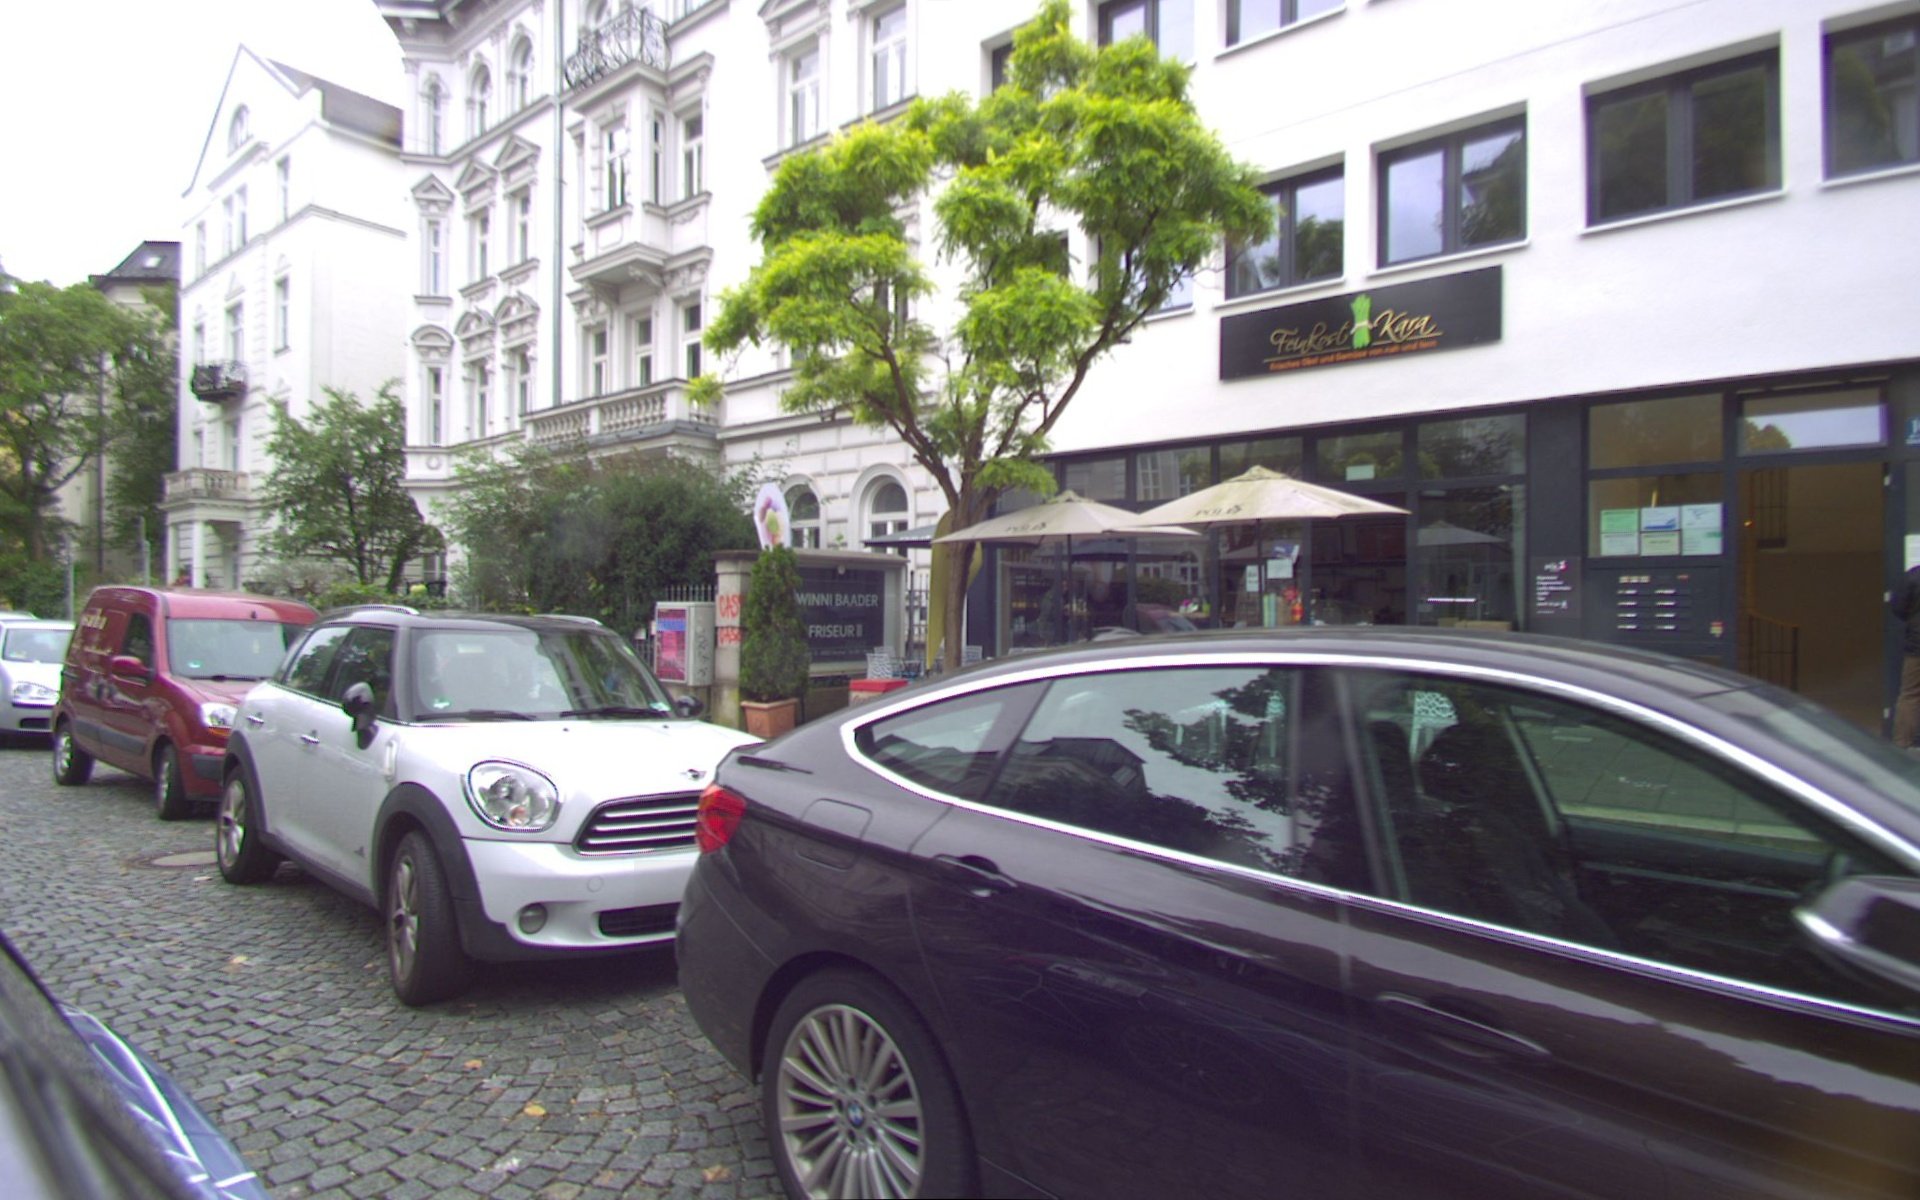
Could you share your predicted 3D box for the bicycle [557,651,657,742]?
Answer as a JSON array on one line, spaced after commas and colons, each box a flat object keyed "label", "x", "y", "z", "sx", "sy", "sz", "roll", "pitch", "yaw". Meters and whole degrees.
[{"label": "bicycle", "x": -4.495, "y": 1.197, "z": 12.836, "sx": 1.682, "sy": 1.087, "sz": 0.255, "roll": -2, "pitch": -2, "yaw": 35}]

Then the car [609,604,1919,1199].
[{"label": "car", "x": 1.303, "y": 0.797, "z": 2.058, "sx": 4.469, "sy": 1.476, "sz": 1.708, "roll": -1, "pitch": -4, "yaw": 40}]

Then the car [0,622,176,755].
[{"label": "car", "x": -11.340, "y": 0.982, "z": 12.561, "sx": 3.810, "sy": 1.404, "sz": 1.616, "roll": -1, "pitch": -1, "yaw": 37}]

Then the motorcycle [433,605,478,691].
[{"label": "motorcycle", "x": -7.370, "y": 0.673, "z": 14.749, "sx": 0.326, "sy": 1.189, "sz": 1.629, "roll": 1, "pitch": -1, "yaw": -36}]

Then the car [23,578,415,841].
[{"label": "car", "x": -6.404, "y": 0.776, "z": 8.603, "sx": 3.894, "sy": 1.736, "sz": 1.701, "roll": -1, "pitch": -3, "yaw": 39}]

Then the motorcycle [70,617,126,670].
[{"label": "motorcycle", "x": -24.574, "y": 1.210, "z": 28.832, "sx": 2.241, "sy": 1.439, "sz": 0.730, "roll": -1, "pitch": 0, "yaw": 36}]

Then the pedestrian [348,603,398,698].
[{"label": "pedestrian", "x": -10.536, "y": 0.887, "z": 18.161, "sx": 0.569, "sy": 1.659, "sz": 0.822, "roll": 1, "pitch": -1, "yaw": -44}]

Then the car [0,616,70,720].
[{"label": "car", "x": -16.197, "y": 1.050, "z": 16.568, "sx": 4.062, "sy": 1.584, "sz": 1.673, "roll": -1, "pitch": -1, "yaw": 37}]

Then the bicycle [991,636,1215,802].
[{"label": "bicycle", "x": 1.100, "y": 0.897, "z": 8.182, "sx": 1.910, "sy": 1.184, "sz": 0.356, "roll": -1, "pitch": -1, "yaw": 41}]

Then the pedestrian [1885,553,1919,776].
[{"label": "pedestrian", "x": 7.571, "y": 0.469, "z": 7.636, "sx": 0.783, "sy": 1.673, "sz": 0.549, "roll": -3, "pitch": -1, "yaw": 41}]

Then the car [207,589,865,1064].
[{"label": "car", "x": -2.365, "y": 0.749, "z": 5.143, "sx": 3.777, "sy": 1.515, "sz": 1.675, "roll": -1, "pitch": -1, "yaw": 43}]

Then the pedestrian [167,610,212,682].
[{"label": "pedestrian", "x": -17.878, "y": 1.053, "z": 23.491, "sx": 0.655, "sy": 1.640, "sz": 0.671, "roll": 0, "pitch": -1, "yaw": -19}]
